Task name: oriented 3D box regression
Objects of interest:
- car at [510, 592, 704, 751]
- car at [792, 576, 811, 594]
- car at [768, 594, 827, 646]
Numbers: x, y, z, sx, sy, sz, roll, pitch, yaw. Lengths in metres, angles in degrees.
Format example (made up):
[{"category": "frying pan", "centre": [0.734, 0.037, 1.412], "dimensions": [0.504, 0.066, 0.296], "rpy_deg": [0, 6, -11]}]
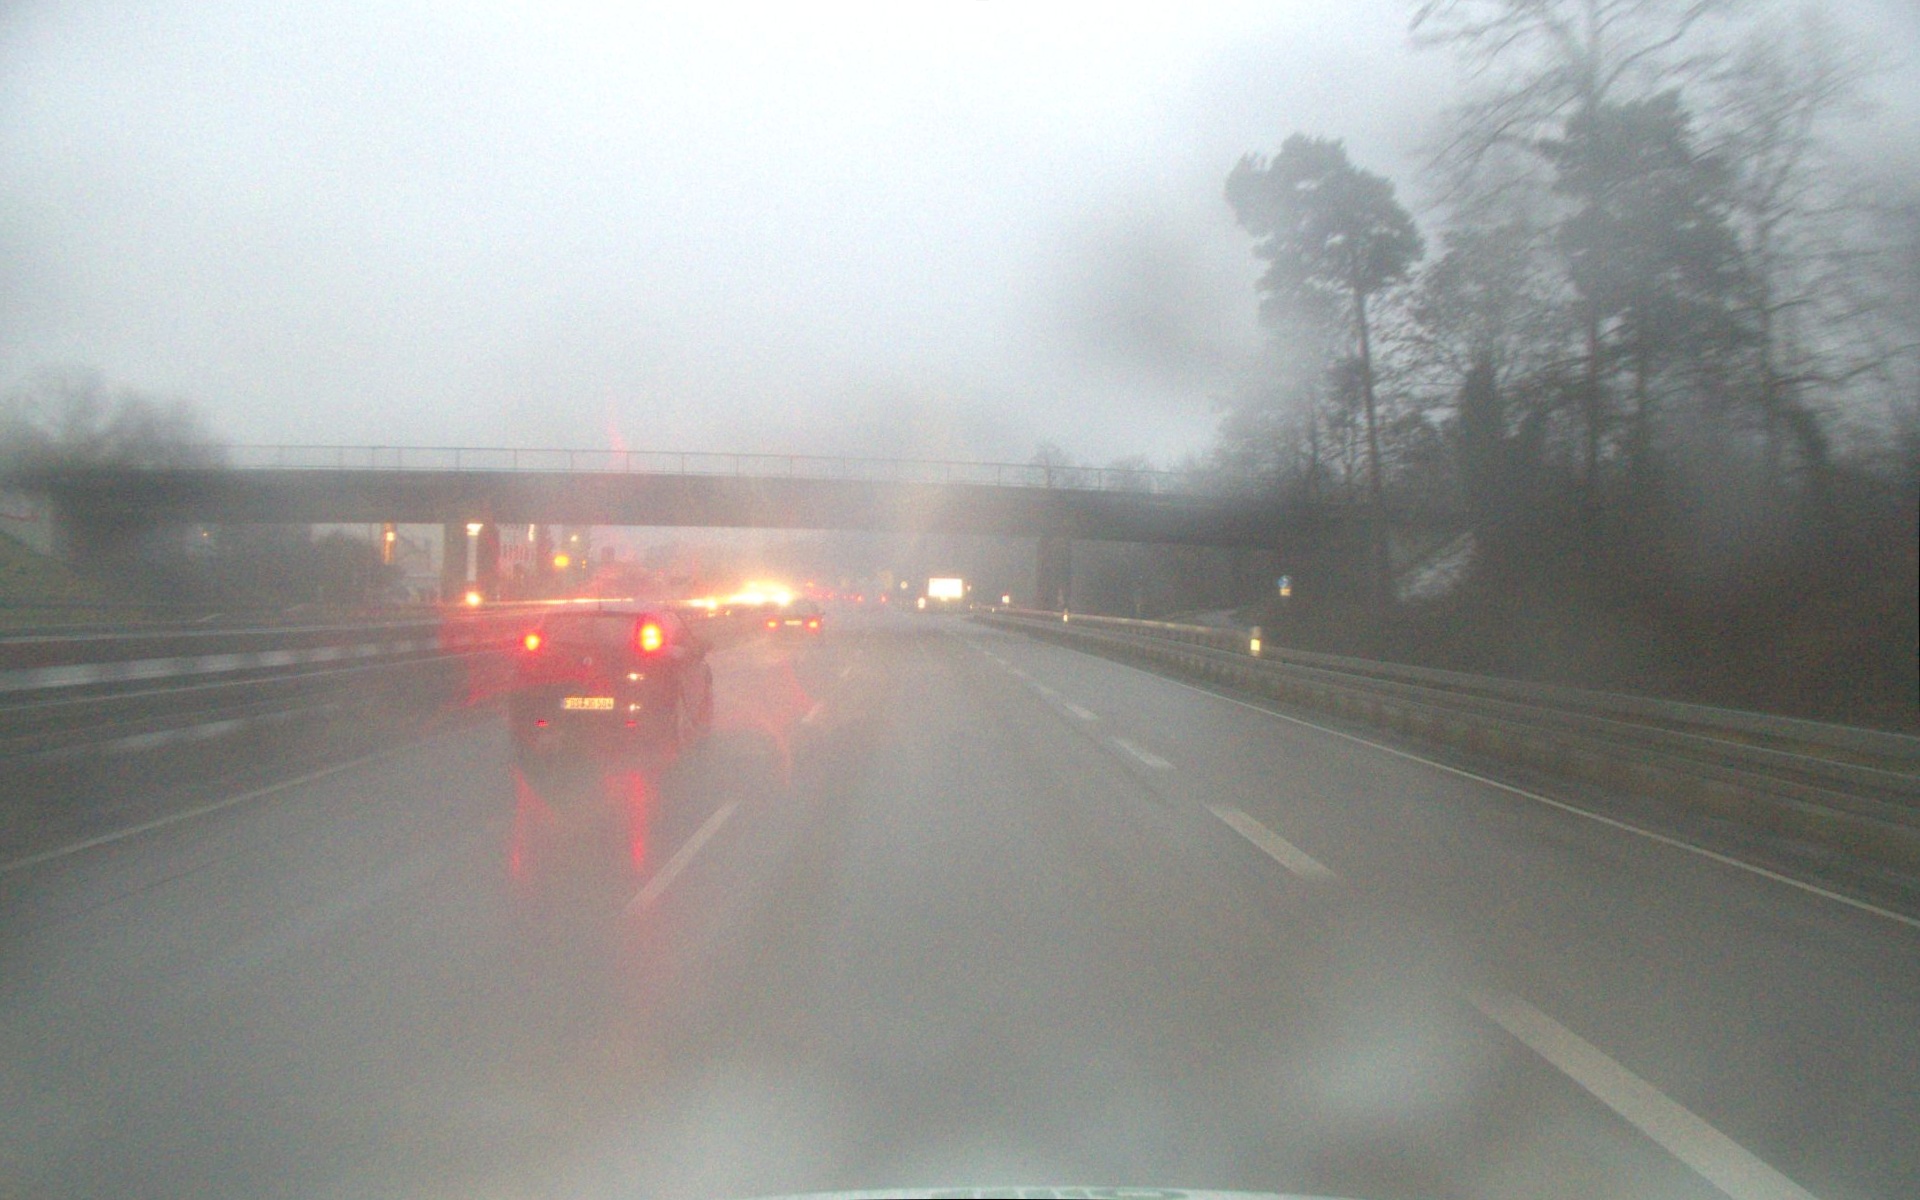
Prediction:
[{"category": "car", "centre": [-3.711, 0.693, 17.882], "dimensions": [1.497, 1.440, 3.476], "rpy_deg": [3, 0, -4]}, {"category": "car", "centre": [-20.053, -1.853, 209.418], "dimensions": [2.085, 2.157, 3.567], "rpy_deg": [3, 0, -10]}, {"category": "car", "centre": [-5.026, 0.590, 51.547], "dimensions": [1.741, 1.561, 4.698], "rpy_deg": [0, 0, -5]}]
